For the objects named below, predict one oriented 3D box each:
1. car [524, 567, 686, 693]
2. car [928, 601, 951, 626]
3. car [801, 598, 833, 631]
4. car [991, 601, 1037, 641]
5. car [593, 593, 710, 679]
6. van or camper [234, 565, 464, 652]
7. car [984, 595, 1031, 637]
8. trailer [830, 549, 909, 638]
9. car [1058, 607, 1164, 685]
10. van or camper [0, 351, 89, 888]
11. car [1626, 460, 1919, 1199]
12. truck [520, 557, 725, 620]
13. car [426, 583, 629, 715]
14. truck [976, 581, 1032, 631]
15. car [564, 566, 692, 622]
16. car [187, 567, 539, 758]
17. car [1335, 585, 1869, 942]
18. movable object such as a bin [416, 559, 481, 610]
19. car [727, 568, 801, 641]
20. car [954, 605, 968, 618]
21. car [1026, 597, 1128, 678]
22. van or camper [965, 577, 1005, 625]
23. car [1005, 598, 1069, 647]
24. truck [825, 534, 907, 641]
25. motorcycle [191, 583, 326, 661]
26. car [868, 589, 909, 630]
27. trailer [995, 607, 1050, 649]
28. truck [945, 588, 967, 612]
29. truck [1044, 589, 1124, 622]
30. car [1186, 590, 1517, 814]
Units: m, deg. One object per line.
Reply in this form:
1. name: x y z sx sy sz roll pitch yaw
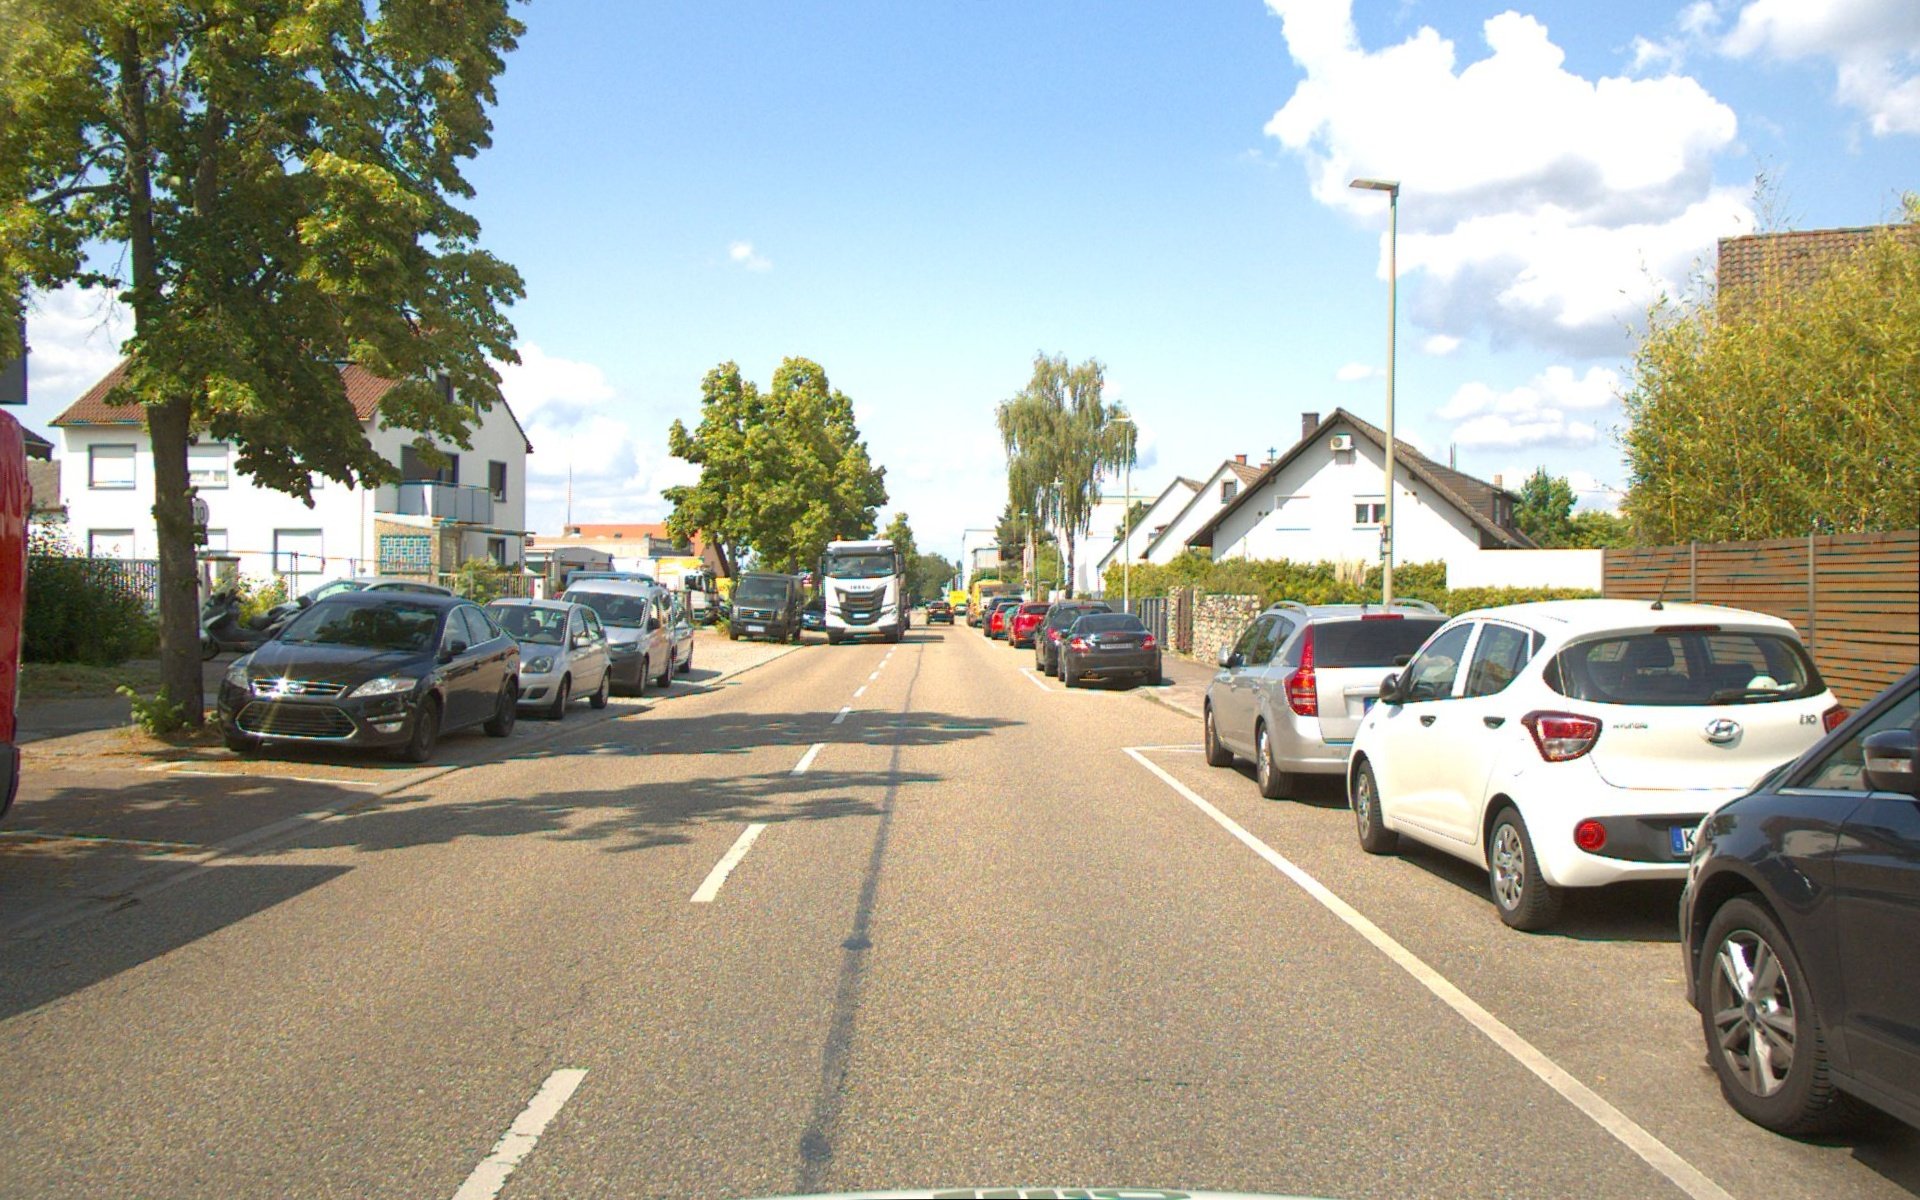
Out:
1. car: -5.912 0.469 28.077 1.773 1.837 4.489 4 0 -2
2. car: -1.298 0.857 104.925 1.398 1.545 3.017 1 0 0
3. car: -6.853 0.708 79.610 1.221 1.545 3.365 1 0 0
4. car: 2.071 0.798 64.331 1.650 1.460 4.145 1 0 0
5. car: -6.365 0.690 34.564 1.714 1.486 4.706 4 1 -3
6. van or camper: -12.055 0.198 32.851 1.745 1.570 3.987 2 0 34
7. car: 1.953 0.654 69.321 1.792 1.691 4.553 1 0 -1
8. trailer: -3.454 -0.203 62.940 2.778 3.123 8.883 1 0 -3
9. car: 2.799 0.834 31.443 1.675 1.341 3.963 1 0 0
10. van or camper: -5.674 0.055 5.489 2.104 2.593 6.223 4 0 0
11. car: 3.267 0.561 3.322 1.853 1.805 4.706 1 -1 -2
12. truck: -15.848 -0.532 78.038 9.064 2.906 2.721 0 0 3
13. car: -5.707 0.623 22.289 1.590 1.494 3.925 5 -1 0
14. truck: 2.061 0.298 79.959 2.470 2.340 5.894 0 0 -1
15. car: -14.070 -0.240 70.266 4.894 2.271 2.001 1 -2 12
16. car: -5.678 0.547 16.411 1.773 1.519 4.595 3 0 -1
17. car: 3.197 0.701 8.991 1.413 1.531 3.670 1 0 -1
18. movable object such as a bin: -16.383 -0.512 53.024 1.281 1.456 1.605 1 6 15
19. car: -6.625 0.109 56.311 2.126 2.299 3.998 3 1 -3
20. car: 0.148 1.383 201.527 1.618 1.411 4.422 2 0 -1
21. car: 2.479 0.778 35.938 1.709 1.578 4.120 3 0 -2
22. van or camper: 1.455 0.074 97.012 1.954 2.711 5.766 1 0 -3
23. car: 2.488 0.719 54.286 1.657 1.488 4.753 1 0 -3
24. truck: -3.235 -0.402 58.137 2.717 3.560 5.879 0 0 -2
25. motorcycle: -12.445 0.383 29.371 2.050 1.271 0.677 3 0 -1
26. car: -3.671 0.491 86.022 2.009 2.070 5.140 -1 0 -1
27. trailer: 2.195 0.960 58.887 1.576 1.402 4.430 1 0 -2
28. truck: -0.510 0.015 213.027 2.425 2.991 7.185 2 0 -2
29. truck: 10.002 0.451 133.348 5.968 2.622 2.544 1 0 -27
30. car: 3.132 0.739 14.125 1.710 1.579 4.291 1 0 -1
